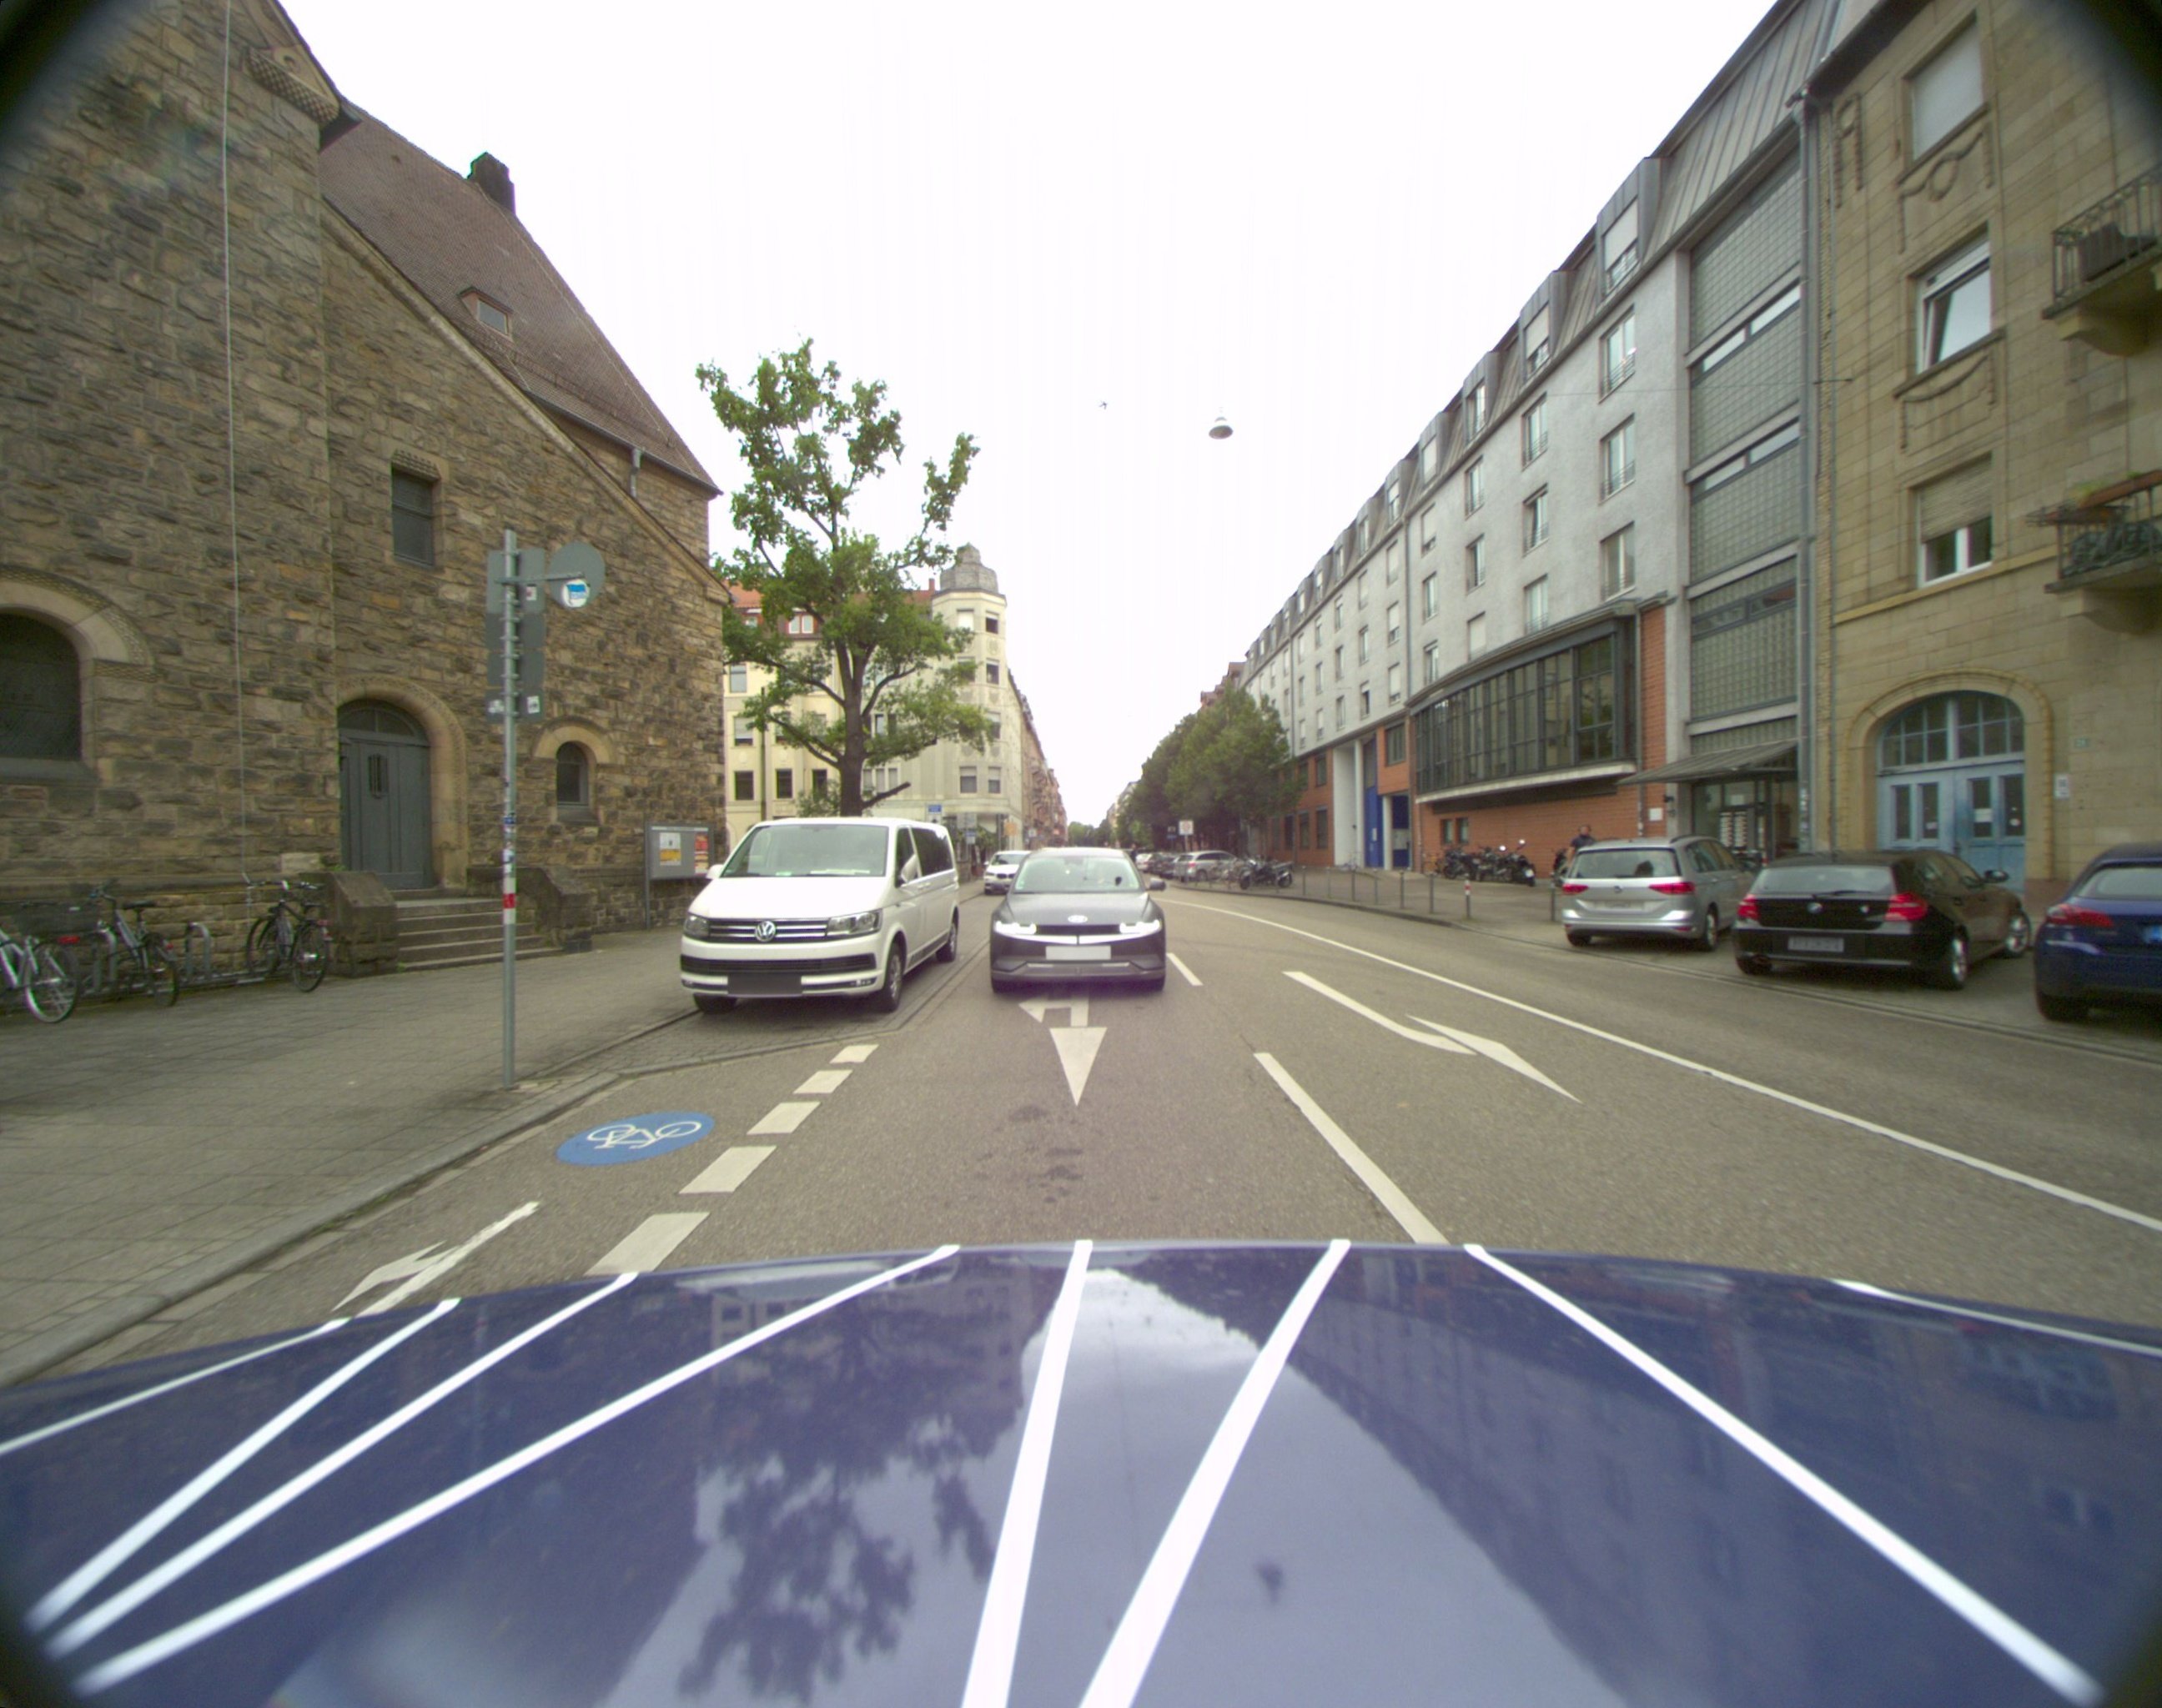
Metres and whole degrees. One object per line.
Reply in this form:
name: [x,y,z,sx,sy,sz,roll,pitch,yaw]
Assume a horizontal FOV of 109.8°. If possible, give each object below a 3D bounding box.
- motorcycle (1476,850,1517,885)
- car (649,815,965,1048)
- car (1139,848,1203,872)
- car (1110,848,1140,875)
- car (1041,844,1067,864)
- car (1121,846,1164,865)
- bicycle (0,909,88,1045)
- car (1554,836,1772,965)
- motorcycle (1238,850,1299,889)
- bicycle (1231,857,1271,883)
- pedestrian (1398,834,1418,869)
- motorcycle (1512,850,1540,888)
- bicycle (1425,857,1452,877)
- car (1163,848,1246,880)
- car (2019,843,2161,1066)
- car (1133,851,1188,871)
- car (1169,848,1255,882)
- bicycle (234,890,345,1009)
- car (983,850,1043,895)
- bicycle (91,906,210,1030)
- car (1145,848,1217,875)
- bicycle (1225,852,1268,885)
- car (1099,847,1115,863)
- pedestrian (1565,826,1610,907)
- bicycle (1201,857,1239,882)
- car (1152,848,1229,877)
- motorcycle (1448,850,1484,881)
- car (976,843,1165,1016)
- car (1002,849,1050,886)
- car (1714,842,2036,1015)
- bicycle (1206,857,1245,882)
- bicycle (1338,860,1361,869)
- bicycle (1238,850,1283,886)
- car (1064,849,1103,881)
motorcycle: [13.819,0.431,25.295,0.446,1.091,1.763,-1,1,2]
car: [-2.660,0.626,8.869,1.810,1.909,5.163,-1,0,0]
car: [6.313,0.411,53.493,4.004,1.619,1.996,-1,1,-22]
car: [3.001,0.462,52.668,1.698,1.793,4.128,0,0,-1]
car: [-2.135,0.006,61.122,1.820,1.556,4.000,-1,0,1]
car: [6.409,0.105,79.789,4.004,1.898,1.996,-1,1,-22]
bicycle: [-9.089,1.021,6.535,1.380,1.054,0.311,-1,1,23]
car: [9.183,0.611,11.879,4.007,1.545,1.729,-4,1,-38]
motorcycle: [7.135,0.584,28.946,2.124,1.345,0.599,-3,1,1]
bicycle: [7.489,0.695,33.446,1.630,1.067,0.416,-3,1,-1]
pedestrian: [15.488,-0.135,36.000,0.686,1.640,0.622,-1,2,2]
motorcycle: [13.478,0.447,23.018,0.445,1.091,1.765,-1,1,21]
bicycle: [14.038,0.500,29.887,0.336,0.783,1.581,-1,0,2]
car: [6.741,0.515,41.559,4.004,1.619,1.996,-1,1,-22]
car: [9.533,0.701,6.143,3.754,1.437,1.820,-4,1,-29]
car: [6.274,0.517,60.131,4.004,1.488,1.735,-1,1,-22]
car: [6.720,0.543,38.899,4.004,1.619,1.769,-1,1,-22]
bicycle: [-8.186,0.960,7.852,1.340,1.140,0.311,-1,1,23]
car: [-2.501,0.646,28.691,1.820,1.556,4.000,-1,0,1]
bicycle: [-8.657,1.027,7.063,1.340,1.054,0.311,-1,1,23]
car: [6.250,0.446,47.548,4.004,1.619,1.996,-1,1,-22]
bicycle: [6.699,0.585,30.795,1.630,1.282,0.416,-3,1,-1]
car: [3.391,0.115,98.731,1.998,1.898,4.000,-1,0,2]
pedestrian: [11.625,0.282,17.451,0.621,1.812,0.642,-1,1,1]
bicycle: [6.410,0.698,35.091,1.630,1.067,0.416,-3,1,-1]
car: [6.430,0.479,44.778,4.004,1.619,1.996,-1,1,-22]
motorcycle: [13.821,0.395,27.302,0.446,1.091,1.763,-1,1,2]
car: [-0.067,0.729,9.434,1.820,1.675,4.000,-1,0,1]
car: [-2.448,0.557,34.605,1.820,1.556,4.000,-1,0,1]
car: [9.292,0.695,8.831,4.005,1.430,1.729,-4,1,-31]
bicycle: [6.561,0.702,34.483,1.630,1.067,0.416,-3,1,-1]
bicycle: [13.600,0.545,38.530,1.010,0.435,0.527,-1,2,2]
bicycle: [7.069,0.558,29.997,1.630,1.345,0.416,-3,1,-1]
car: [0.181,0.559,41.018,1.910,1.597,4.251,-1,1,2]
